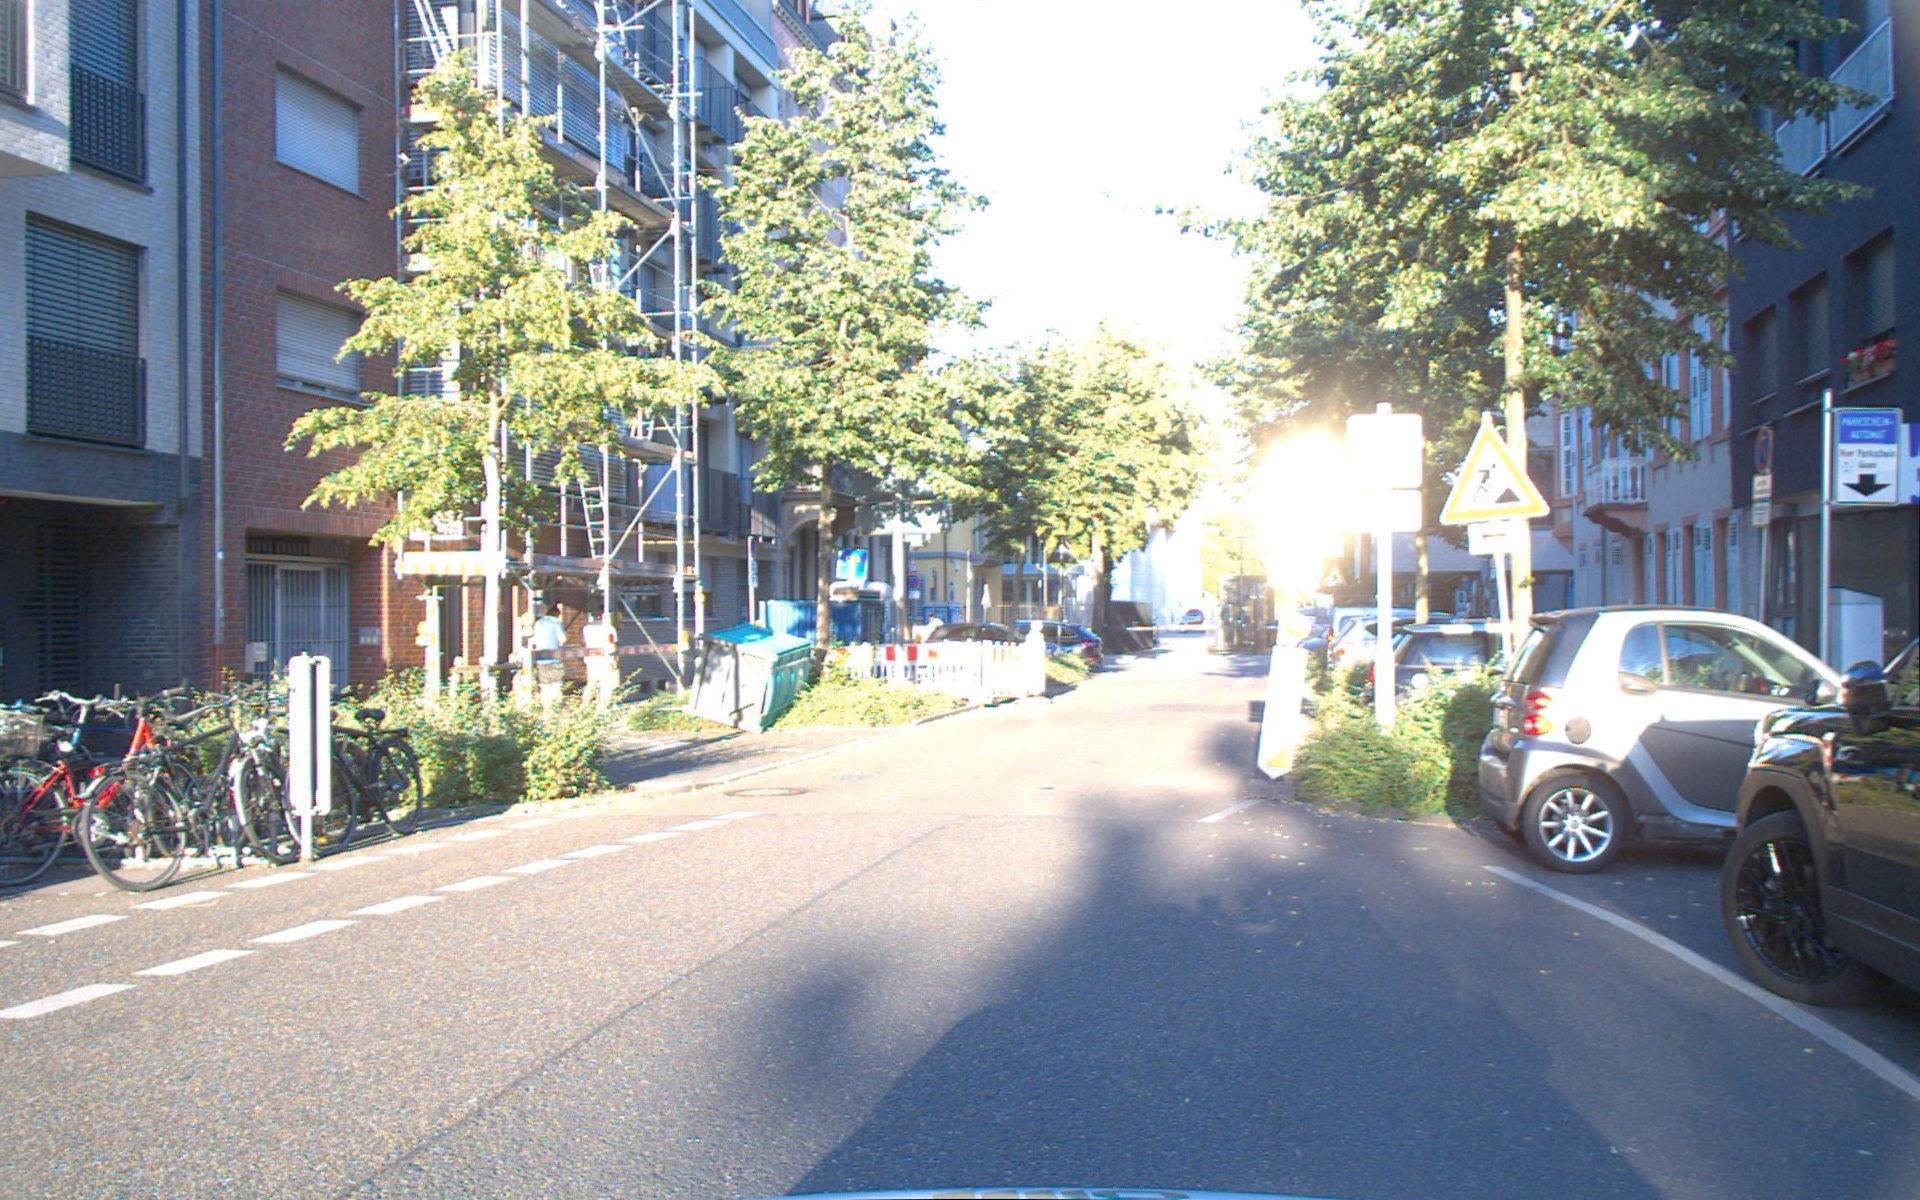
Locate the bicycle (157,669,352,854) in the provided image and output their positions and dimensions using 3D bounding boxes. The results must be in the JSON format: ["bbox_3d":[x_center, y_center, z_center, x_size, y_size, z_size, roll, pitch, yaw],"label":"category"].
[{"bbox_3d":[-5.016,1.109,11.853,0.477,1.183,1.553,-1,-1,12],"label":"bicycle"}]

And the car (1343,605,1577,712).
[{"bbox_3d":[8.465,0.968,28.285,3.606,1.699,1.860,1,0,10],"label":"car"}]

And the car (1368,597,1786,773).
[{"bbox_3d":[6.452,0.850,17.714,3.910,1.699,1.860,1,0,10],"label":"car"}]

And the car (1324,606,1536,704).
[{"bbox_3d":[8.666,0.992,30.793,3.606,1.699,1.860,1,0,10],"label":"car"}]

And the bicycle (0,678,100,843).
[{"bbox_3d":[-7.105,1.180,12.221,0.447,1.152,1.553,-1,-1,12],"label":"bicycle"}]

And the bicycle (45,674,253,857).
[{"bbox_3d":[-5.778,1.143,11.876,0.477,1.170,1.553,-1,-1,12],"label":"bicycle"}]

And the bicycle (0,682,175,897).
[{"bbox_3d":[-5.565,1.128,10.150,0.408,1.177,1.553,-1,-1,17],"label":"bicycle"}]

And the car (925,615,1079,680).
[{"bbox_3d":[1.176,1.272,45.332,3.902,1.713,1.892,0,-1,14],"label":"car"}]

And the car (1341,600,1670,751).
[{"bbox_3d":[6.609,0.883,20.410,3.606,1.699,1.860,1,0,10],"label":"car"}]

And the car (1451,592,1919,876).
[{"bbox_3d":[4.883,0.766,10.179,3.395,1.603,1.509,-1,-1,10],"label":"car"}]

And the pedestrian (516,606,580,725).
[{"bbox_3d":[-6.380,1.009,25.625,0.725,1.814,0.657,-1,-1,12],"label":"pedestrian"}]

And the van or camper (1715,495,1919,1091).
[{"bbox_3d":[3.838,0.595,4.628,1.849,1.839,4.464,0,0,7],"label":"van or camper"}]

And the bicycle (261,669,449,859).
[{"bbox_3d":[-4.241,1.113,11.699,0.496,1.199,1.553,-1,-1,12],"label":"bicycle"}]

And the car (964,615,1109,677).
[{"bbox_3d":[2.234,1.308,47.845,3.902,1.713,1.892,0,-1,14],"label":"car"}]

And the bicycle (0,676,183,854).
[{"bbox_3d":[-6.423,1.167,12.129,0.457,1.164,1.553,-1,-1,12],"label":"bicycle"}]

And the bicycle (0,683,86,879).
[{"bbox_3d":[-6.120,1.136,10.203,0.372,1.180,1.553,-1,-1,12],"label":"bicycle"}]

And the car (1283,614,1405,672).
[{"bbox_3d":[11.219,1.246,48.225,1.827,1.595,3.670,0,-1,45],"label":"car"}]

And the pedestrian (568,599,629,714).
[{"bbox_3d":[-5.800,0.902,26.558,0.725,1.814,0.657,-1,-1,11],"label":"pedestrian"}]

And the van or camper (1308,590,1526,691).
[{"bbox_3d":[9.792,0.847,35.743,4.345,2.041,1.860,1,0,10],"label":"van or camper"}]

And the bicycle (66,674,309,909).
[{"bbox_3d":[-4.600,1.094,9.960,0.486,1.242,1.553,-1,-1,12],"label":"bicycle"}]
